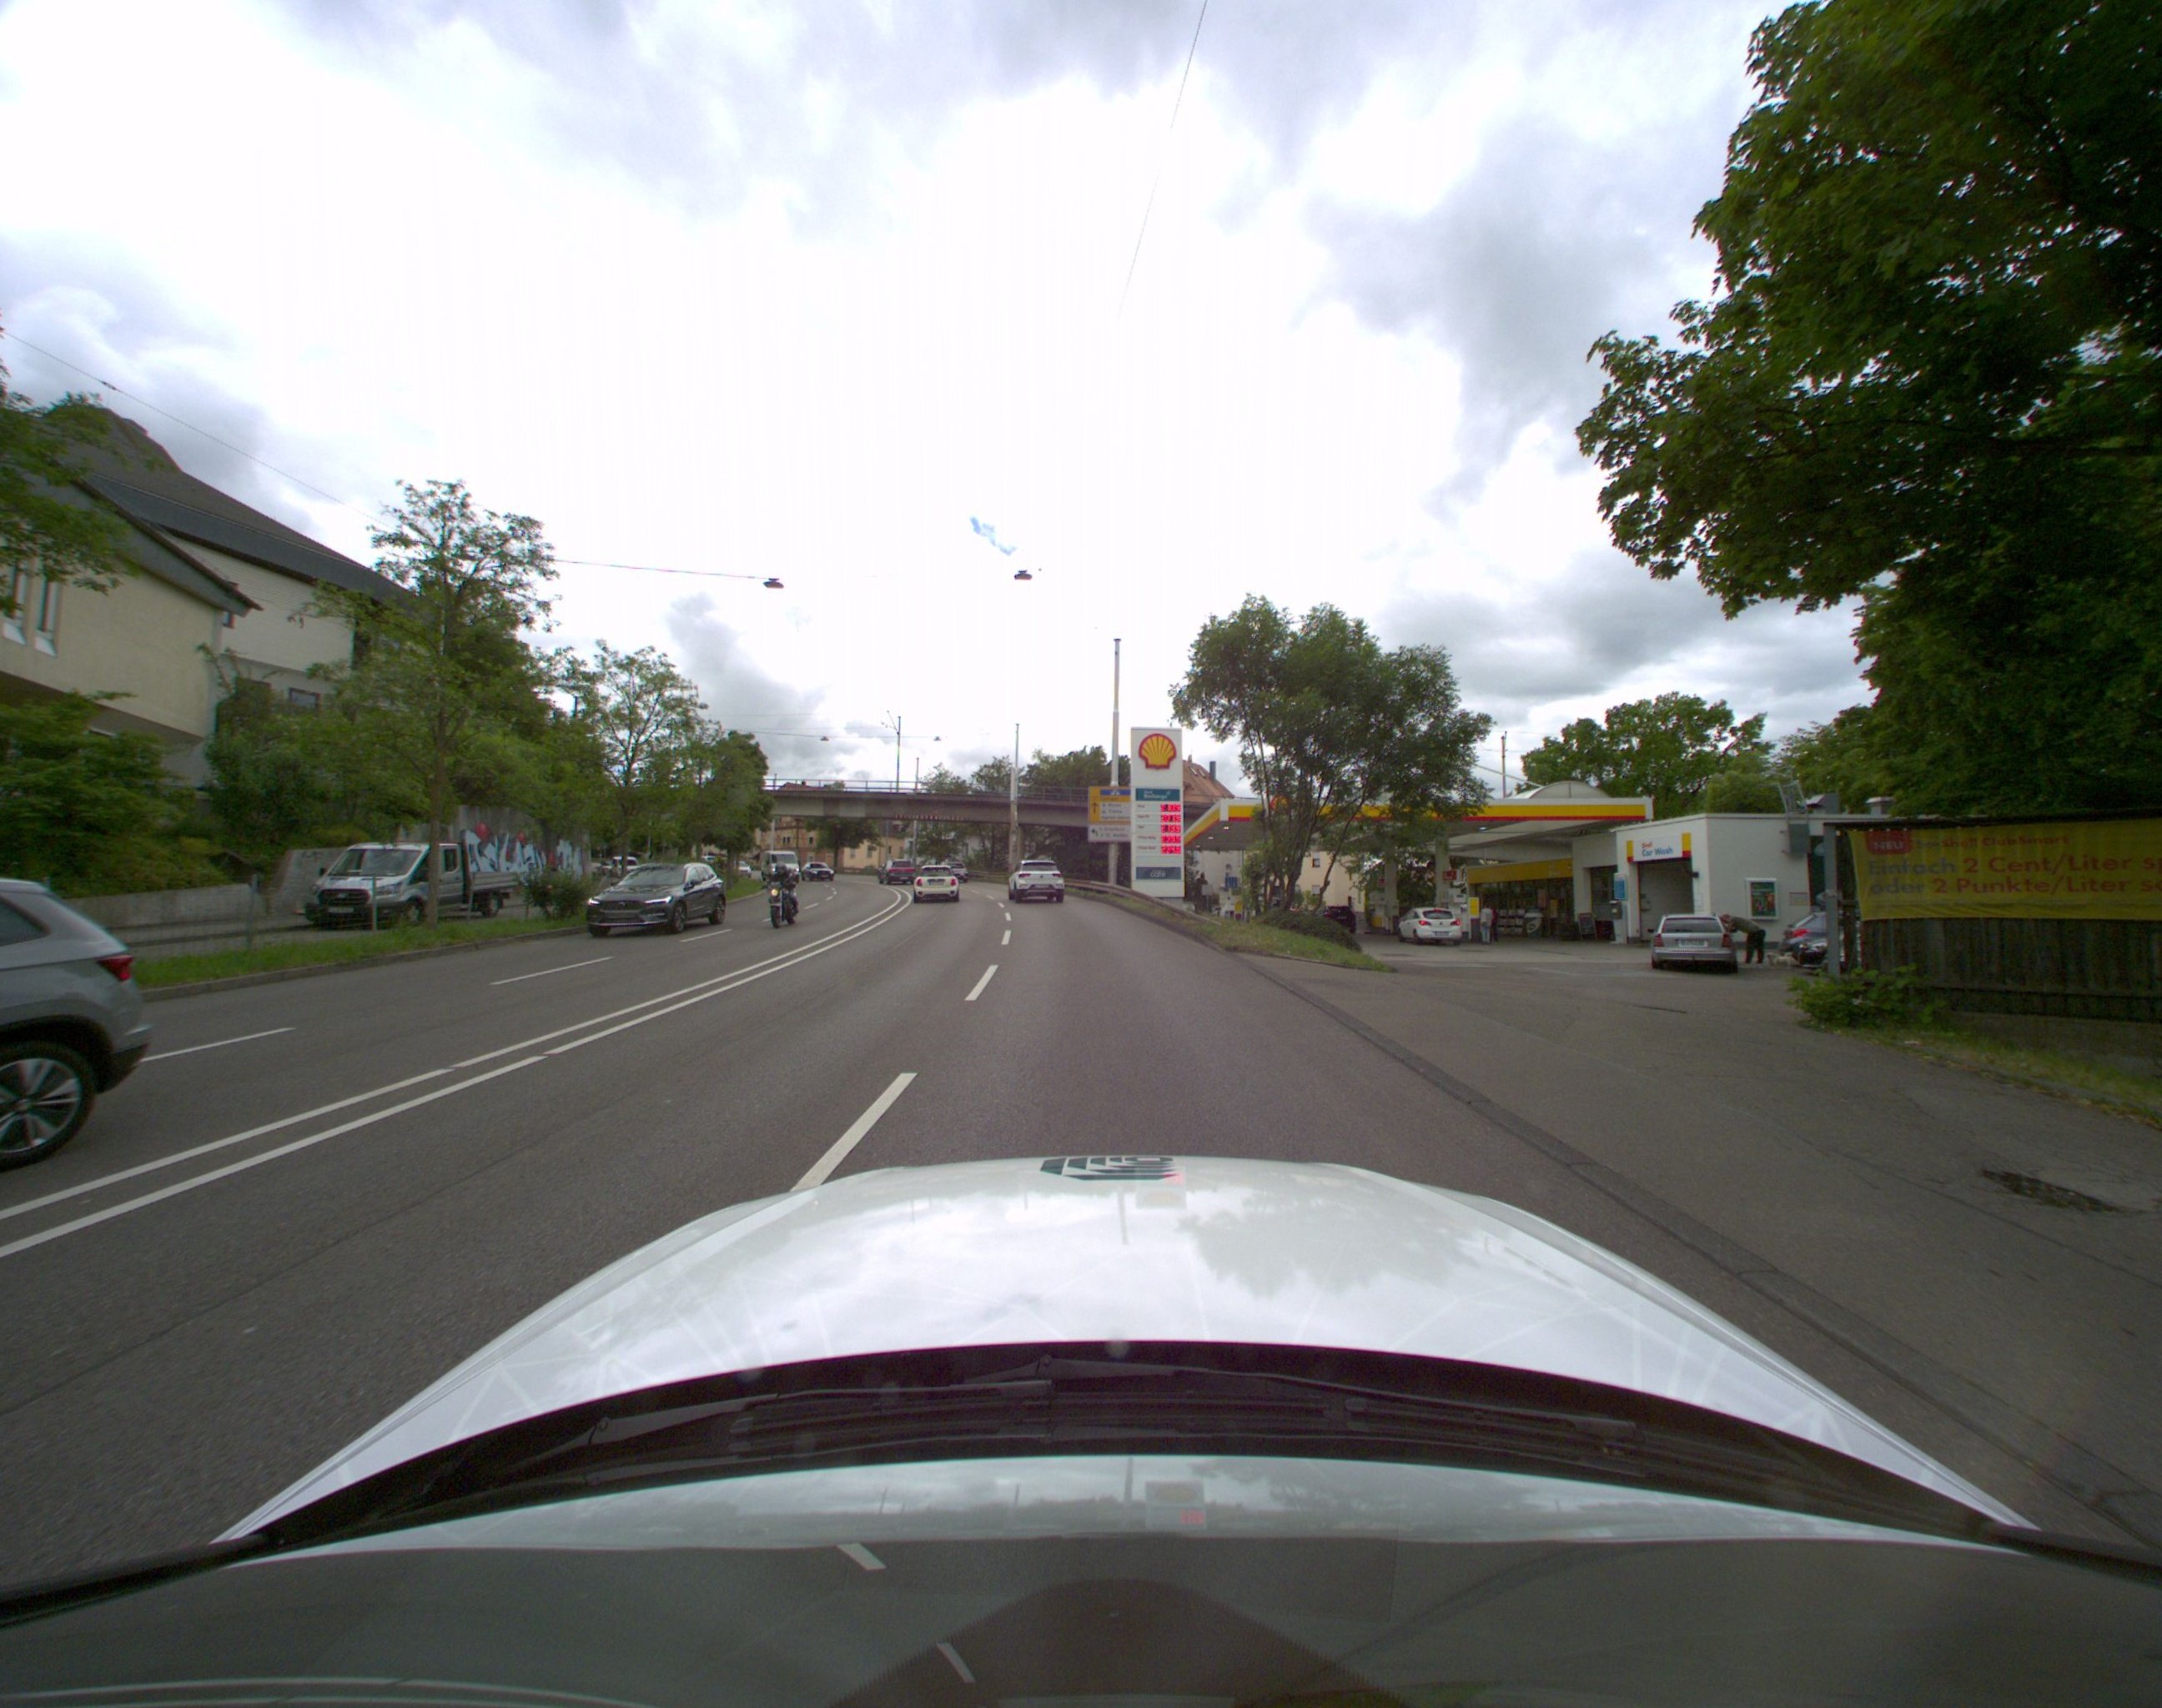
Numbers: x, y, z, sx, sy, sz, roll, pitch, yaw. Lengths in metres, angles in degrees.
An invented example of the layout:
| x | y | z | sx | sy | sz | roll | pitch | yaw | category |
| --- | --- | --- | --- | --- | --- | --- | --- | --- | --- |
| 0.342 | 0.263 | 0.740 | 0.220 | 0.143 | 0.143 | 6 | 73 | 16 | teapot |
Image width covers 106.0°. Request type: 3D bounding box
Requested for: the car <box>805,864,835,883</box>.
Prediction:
| x | y | z | sx | sy | sz | roll | pitch | yaw | category |
| --- | --- | --- | --- | --- | --- | --- | --- | --- | --- |
| -20.526 | 1.530 | 63.864 | 1.744 | 1.414 | 4.393 | -1 | 0 | -24 | car |

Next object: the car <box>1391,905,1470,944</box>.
| x | y | z | sx | sy | sz | roll | pitch | yaw | category |
| --- | --- | --- | --- | --- | --- | --- | --- | --- | --- |
| 14.062 | 2.842 | 32.994 | 1.727 | 1.486 | 3.881 | -1 | -4 | 4 | car |

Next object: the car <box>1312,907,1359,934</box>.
| x | y | z | sx | sy | sz | roll | pitch | yaw | category |
| --- | --- | --- | --- | --- | --- | --- | --- | --- | --- |
| 14.664 | 3.816 | 47.079 | 1.727 | 1.486 | 3.881 | -1 | -4 | 4 | car |

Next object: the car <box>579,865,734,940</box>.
| x | y | z | sx | sy | sz | roll | pitch | yaw | category |
| --- | --- | --- | --- | --- | --- | --- | --- | --- | --- |
| -10.192 | 1.092 | 19.967 | 1.783 | 1.575 | 4.459 | -1 | -1 | -6 | car |

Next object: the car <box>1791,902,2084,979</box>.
| x | y | z | sx | sy | sz | roll | pitch | yaw | category |
| --- | --- | --- | --- | --- | --- | --- | --- | --- | --- |
| 18.276 | 1.826 | 17.706 | 4.164 | 1.436 | 1.745 | -5 | -5 | 43 | car |

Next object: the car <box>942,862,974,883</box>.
| x | y | z | sx | sy | sz | roll | pitch | yaw | category |
| --- | --- | --- | --- | --- | --- | --- | --- | --- | --- |
| -8.523 | 1.282 | 56.221 | 1.680 | 1.409 | 3.435 | 1 | -1 | -18 | car |

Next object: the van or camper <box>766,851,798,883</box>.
| x | y | z | sx | sy | sz | roll | pitch | yaw | category |
| --- | --- | --- | --- | --- | --- | --- | --- | --- | --- |
| -22.169 | 0.945 | 60.226 | 2.016 | 2.261 | 5.918 | 0 | -1 | -22 | van or camper |

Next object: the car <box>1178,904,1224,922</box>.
| x | y | z | sx | sy | sz | roll | pitch | yaw | category |
| --- | --- | --- | --- | --- | --- | --- | --- | --- | --- |
| 10.784 | 5.313 | 73.216 | 3.721 | 1.395 | 1.661 | 2 | -4 | 33 | car |

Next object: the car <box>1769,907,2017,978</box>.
| x | y | z | sx | sy | sz | roll | pitch | yaw | category |
| --- | --- | --- | --- | --- | --- | --- | --- | --- | --- |
| 19.459 | 2.096 | 19.770 | 4.048 | 1.520 | 1.638 | -5 | -5 | 43 | car |

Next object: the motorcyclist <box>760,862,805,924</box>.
| x | y | z | sx | sy | sz | roll | pitch | yaw | category |
| --- | --- | --- | --- | --- | --- | --- | --- | --- | --- |
| -7.533 | 0.969 | 20.566 | 0.758 | 1.485 | 0.959 | -3 | -1 | -3 | motorcyclist |

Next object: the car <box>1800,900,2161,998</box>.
| x | y | z | sx | sy | sz | roll | pitch | yaw | category |
| --- | --- | --- | --- | --- | --- | --- | --- | --- | --- |
| 14.967 | 1.549 | 13.693 | 4.238 | 1.427 | 1.745 | -4 | -7 | 41 | car |

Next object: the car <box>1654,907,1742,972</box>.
| x | y | z | sx | sy | sz | roll | pitch | yaw | category |
| --- | --- | --- | --- | --- | --- | --- | --- | --- | --- |
| 15.805 | 2.121 | 20.979 | 1.581 | 1.432 | 4.320 | -4 | -5 | 35 | car |

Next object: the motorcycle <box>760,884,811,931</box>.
| x | y | z | sx | sy | sz | roll | pitch | yaw | category |
| --- | --- | --- | --- | --- | --- | --- | --- | --- | --- |
| -7.456 | 1.314 | 20.631 | 0.482 | 1.056 | 2.266 | -3 | -1 | -2 | motorcycle |

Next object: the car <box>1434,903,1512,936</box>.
| x | y | z | sx | sy | sz | roll | pitch | yaw | category |
| --- | --- | --- | --- | --- | --- | --- | --- | --- | --- |
| 23.737 | 3.977 | 49.439 | 3.844 | 1.939 | 1.744 | -1 | -5 | 7 | car |

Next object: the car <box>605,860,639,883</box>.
| x | y | z | sx | sy | sz | roll | pitch | yaw | category |
| --- | --- | --- | --- | --- | --- | --- | --- | --- | --- |
| -38.521 | 1.432 | 68.335 | 1.781 | 1.785 | 4.413 | -1 | 0 | -39 | car |

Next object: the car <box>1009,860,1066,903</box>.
| x | y | z | sx | sy | sz | roll | pitch | yaw | category |
| --- | --- | --- | --- | --- | --- | --- | --- | --- | --- |
| -1.691 | 1.003 | 30.656 | 1.797 | 1.519 | 3.445 | 1 | -1 | -10 | car |

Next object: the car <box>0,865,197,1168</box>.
| x | y | z | sx | sy | sz | roll | pitch | yaw | category |
| --- | --- | --- | --- | --- | --- | --- | --- | --- | --- |
| -6.362 | 0.822 | 3.008 | 1.780 | 1.539 | 4.072 | 0 | -1 | -2 | car |

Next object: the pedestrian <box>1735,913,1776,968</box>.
| x | y | z | sx | sy | sz | roll | pitch | yaw | category |
| --- | --- | --- | --- | --- | --- | --- | --- | --- | --- |
| 16.948 | 2.150 | 20.477 | 0.730 | 1.313 | 0.707 | -1 | -3 | 35 | pedestrian |

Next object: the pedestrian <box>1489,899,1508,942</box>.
| x | y | z | sx | sy | sz | roll | pitch | yaw | category |
| --- | --- | --- | --- | --- | --- | --- | --- | --- | --- |
| 16.970 | 2.693 | 33.105 | 0.491 | 1.705 | 0.431 | 0 | -2 | -7 | pedestrian |

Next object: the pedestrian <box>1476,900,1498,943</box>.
| x | y | z | sx | sy | sz | roll | pitch | yaw | category |
| --- | --- | --- | --- | --- | --- | --- | --- | --- | --- |
| 16.302 | 2.709 | 32.683 | 0.541 | 1.705 | 0.609 | 0 | -2 | -3 | pedestrian |

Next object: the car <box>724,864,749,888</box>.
| x | y | z | sx | sy | sz | roll | pitch | yaw | category |
| --- | --- | --- | --- | --- | --- | --- | --- | --- | --- |
| -30.458 | 1.909 | 72.001 | 1.837 | 1.904 | 3.904 | 3 | -1 | -25 | car |

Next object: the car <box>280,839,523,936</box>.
| x | y | z | sx | sy | sz | roll | pitch | yaw | category |
| --- | --- | --- | --- | --- | --- | --- | --- | --- | --- |
| -18.256 | 0.833 | 22.476 | 2.268 | 2.273 | 6.304 | 0 | -1 | -10 | car |

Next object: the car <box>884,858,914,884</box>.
| x | y | z | sx | sy | sz | roll | pitch | yaw | category |
| --- | --- | --- | --- | --- | --- | --- | --- | --- | --- |
| -11.932 | 1.084 | 53.228 | 1.726 | 1.640 | 3.438 | 1 | -1 | -15 | car |

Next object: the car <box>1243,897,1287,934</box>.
| x | y | z | sx | sy | sz | roll | pitch | yaw | category |
| --- | --- | --- | --- | --- | --- | --- | --- | --- | --- |
| 10.447 | 3.511 | 46.574 | 1.727 | 2.011 | 4.717 | -1 | -4 | 4 | car |

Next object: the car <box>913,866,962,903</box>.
| x | y | z | sx | sy | sz | roll | pitch | yaw | category |
| --- | --- | --- | --- | --- | --- | --- | --- | --- | --- |
| -5.566 | 1.155 | 31.875 | 1.721 | 1.376 | 3.447 | 1 | -1 | -8 | car |

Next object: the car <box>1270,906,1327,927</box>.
| x | y | z | sx | sy | sz | roll | pitch | yaw | category |
| --- | --- | --- | --- | --- | --- | --- | --- | --- | --- |
| 18.285 | 5.253 | 68.558 | 4.249 | 1.522 | 1.634 | 2 | -4 | 30 | car |

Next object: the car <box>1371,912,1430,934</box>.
| x | y | z | sx | sy | sz | roll | pitch | yaw | category |
| --- | --- | --- | --- | --- | --- | --- | --- | --- | --- |
| 21.555 | 4.660 | 55.028 | 3.585 | 1.459 | 1.666 | -2 | -5 | 20 | car |
